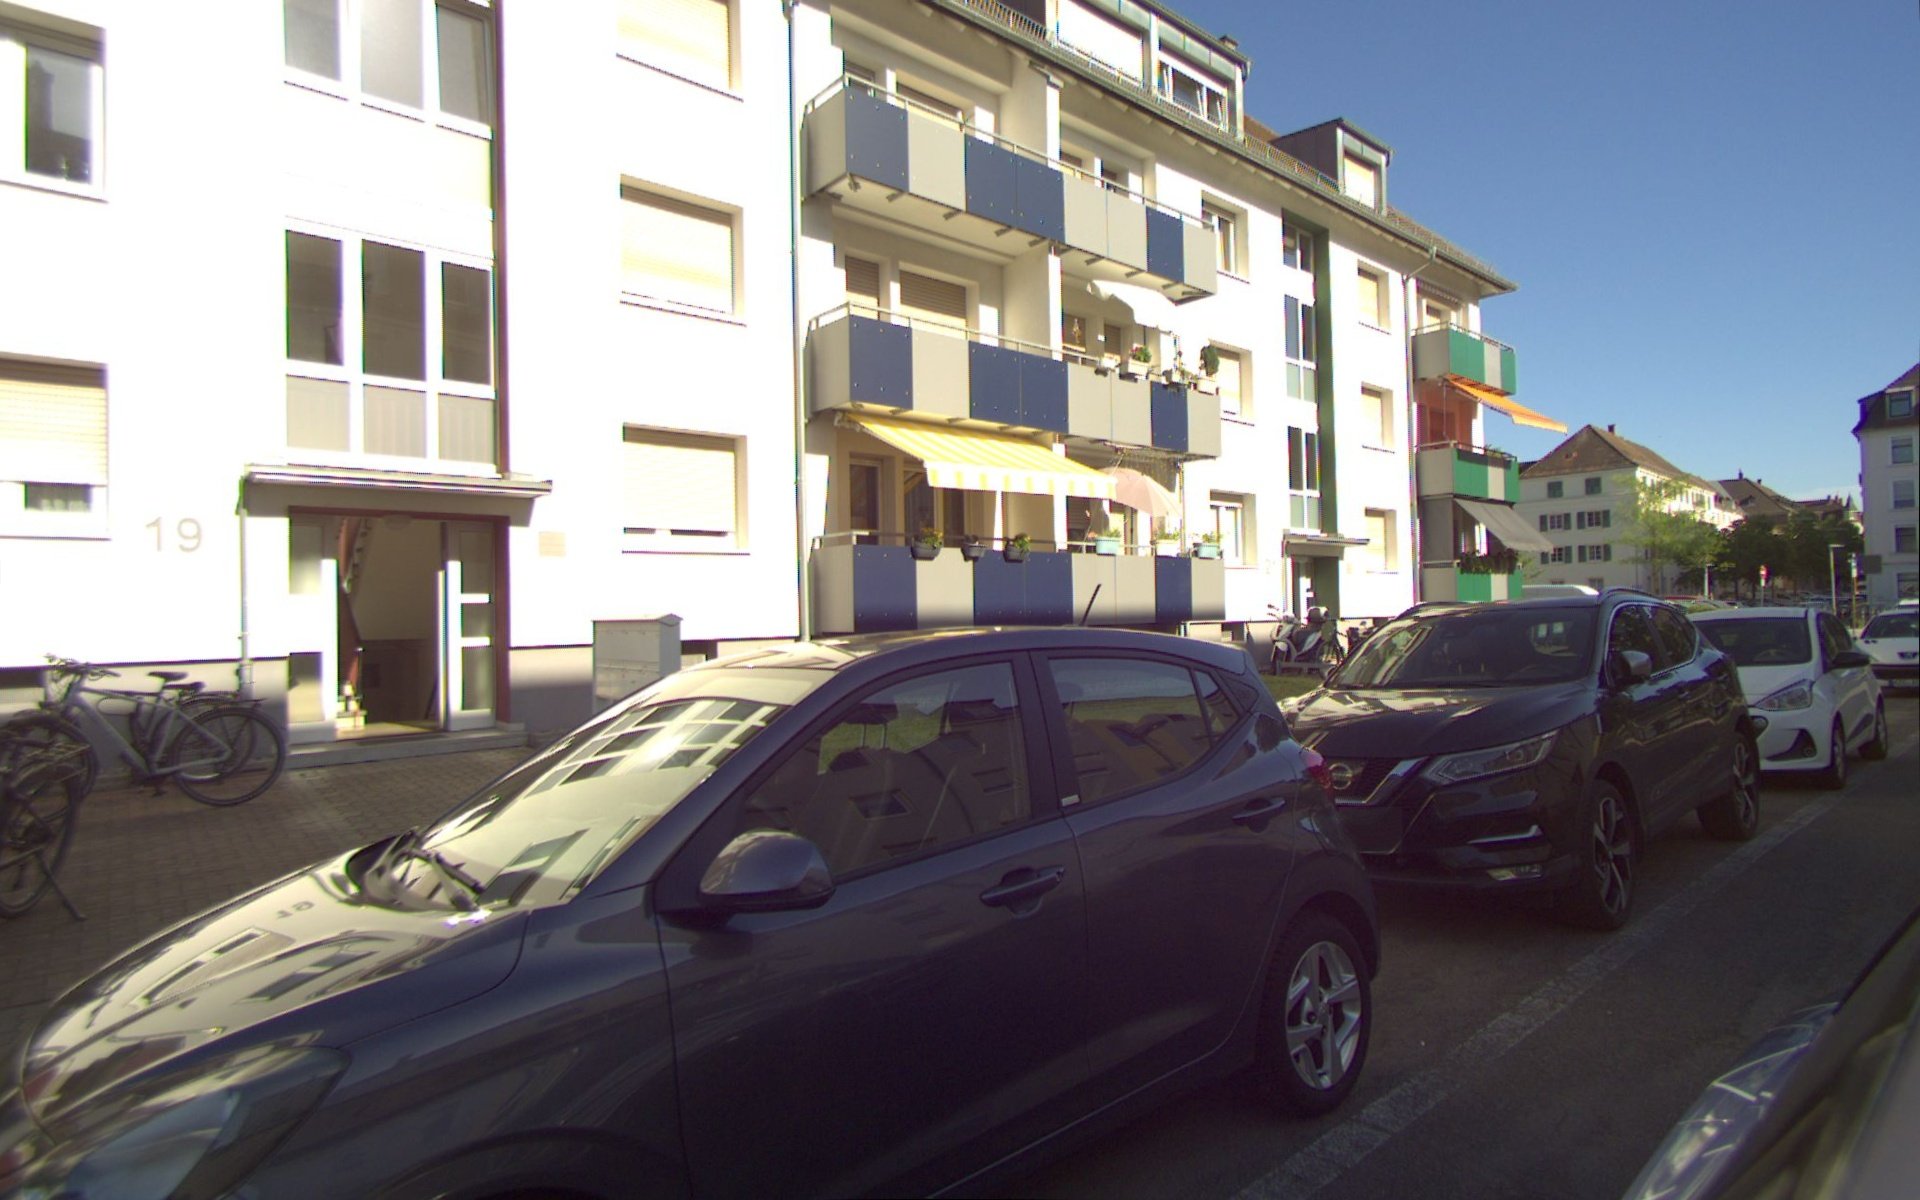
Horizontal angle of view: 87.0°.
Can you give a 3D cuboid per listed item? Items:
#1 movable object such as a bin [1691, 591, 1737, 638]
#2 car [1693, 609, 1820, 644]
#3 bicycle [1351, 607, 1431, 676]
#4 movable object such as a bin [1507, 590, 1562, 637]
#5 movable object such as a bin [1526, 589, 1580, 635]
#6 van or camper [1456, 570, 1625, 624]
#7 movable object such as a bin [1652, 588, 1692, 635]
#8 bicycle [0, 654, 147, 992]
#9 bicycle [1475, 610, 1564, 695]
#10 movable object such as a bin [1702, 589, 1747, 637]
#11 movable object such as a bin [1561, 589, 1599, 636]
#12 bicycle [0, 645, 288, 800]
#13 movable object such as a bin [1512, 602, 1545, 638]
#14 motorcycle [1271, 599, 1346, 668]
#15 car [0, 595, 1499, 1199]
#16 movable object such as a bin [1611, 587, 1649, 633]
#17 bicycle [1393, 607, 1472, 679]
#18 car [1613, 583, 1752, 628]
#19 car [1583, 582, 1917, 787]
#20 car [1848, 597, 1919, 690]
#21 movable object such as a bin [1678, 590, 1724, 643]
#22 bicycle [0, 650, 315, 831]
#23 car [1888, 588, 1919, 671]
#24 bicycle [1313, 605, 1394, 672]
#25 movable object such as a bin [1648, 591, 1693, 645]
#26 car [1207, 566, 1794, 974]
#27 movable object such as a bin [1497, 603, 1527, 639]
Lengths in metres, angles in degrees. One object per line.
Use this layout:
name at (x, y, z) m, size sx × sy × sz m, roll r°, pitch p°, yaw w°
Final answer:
movable object such as a bin at (22.217, 0.411, 29.829) m, size 0.852 × 1.342 × 0.920 m, roll 0°, pitch 0°, yaw -42°
car at (33.864, 1.096, 43.108) m, size 1.769 × 1.366 × 3.996 m, roll 0°, pitch 0°, yaw -38°
bicycle at (7.547, 0.698, 17.697) m, size 1.840 × 1.096 × 0.539 m, roll 0°, pitch 2°, yaw -42°
movable object such as a bin at (18.468, 0.429, 32.529) m, size 1.257 × 1.466 × 1.237 m, roll 0°, pitch 0°, yaw -43°
movable object such as a bin at (19.561, 0.382, 33.380) m, size 1.257 × 1.466 × 1.237 m, roll 0°, pitch 0°, yaw -43°
van or camper at (28.658, -0.157, 50.260) m, size 2.137 × 2.532 × 6.980 m, roll 0°, pitch 0°, yaw -38°
movable object such as a bin at (22.385, 0.346, 31.814) m, size 0.907 × 1.466 × 0.864 m, roll 0°, pitch 0°, yaw -44°
bicycle at (-4.446, 0.895, 4.685) m, size 0.862 × 1.144 × 2.432 m, roll 0°, pitch 0°, yaw -34°
bicycle at (8.517, 0.762, 15.382) m, size 1.839 × 1.185 × 0.545 m, roll -1°, pitch 1°, yaw -40°
movable object such as a bin at (23.128, 0.373, 30.618) m, size 0.852 × 1.416 × 0.920 m, roll 0°, pitch -1°, yaw -42°
movable object such as a bin at (20.697, 0.396, 33.790) m, size 0.906 × 1.539 × 0.865 m, roll 0°, pitch 0°, yaw -42°
bicycle at (-6.574, 0.929, 8.110) m, size 1.940 × 1.050 × 0.521 m, roll 0°, pitch 0°, yaw -41°
movable object such as a bin at (17.759, 0.622, 31.623) m, size 0.570 × 1.066 × 0.717 m, roll 0°, pitch 2°, yaw -43°
motorcycle at (6.616, 0.607, 19.176) m, size 1.942 × 1.254 × 0.442 m, roll 0°, pitch 0°, yaw -41°
car at (-0.199, 0.780, 3.001) m, size 3.987 × 1.468 × 1.650 m, roll -1°, pitch -2°, yaw -38°
movable object such as a bin at (21.561, 0.307, 32.568) m, size 0.907 × 1.466 × 0.864 m, roll 0°, pitch 0°, yaw -44°
bicycle at (8.027, 0.702, 17.164) m, size 1.840 × 1.134 × 0.544 m, roll 0°, pitch 1°, yaw -42°
car at (34.291, 0.283, 48.152) m, size 1.963 × 2.039 × 4.993 m, roll 0°, pitch -1°, yaw -37°
car at (7.488, 0.664, 9.469) m, size 3.787 × 1.529 × 1.715 m, roll -1°, pitch -4°, yaw -42°
car at (16.477, 0.654, 17.074) m, size 4.027 × 1.437 × 1.692 m, roll -1°, pitch -3°, yaw -42°
movable object such as a bin at (21.270, 0.464, 29.057) m, size 0.852 × 1.466 × 0.920 m, roll 0°, pitch -1°, yaw -42°
bicycle at (-5.827, 0.931, 7.014) m, size 2.248 × 1.062 × 0.521 m, roll -1°, pitch 0°, yaw -41°
car at (20.569, 0.526, 20.730) m, size 4.502 × 1.613 × 1.803 m, roll -1°, pitch -2°, yaw -42°
bicycle at (7.124, 0.666, 18.293) m, size 1.840 × 1.130 × 0.597 m, roll 0°, pitch 0°, yaw -42°
movable object such as a bin at (19.973, 0.488, 28.448) m, size 0.907 × 1.466 × 0.864 m, roll 0°, pitch 0°, yaw -44°
car at (3.452, 0.646, 6.047) m, size 4.278 × 1.598 × 1.726 m, roll -1°, pitch 0°, yaw -42°
movable object such as a bin at (17.088, 0.629, 31.332) m, size 0.570 × 1.066 × 0.628 m, roll 0°, pitch 2°, yaw -43°
